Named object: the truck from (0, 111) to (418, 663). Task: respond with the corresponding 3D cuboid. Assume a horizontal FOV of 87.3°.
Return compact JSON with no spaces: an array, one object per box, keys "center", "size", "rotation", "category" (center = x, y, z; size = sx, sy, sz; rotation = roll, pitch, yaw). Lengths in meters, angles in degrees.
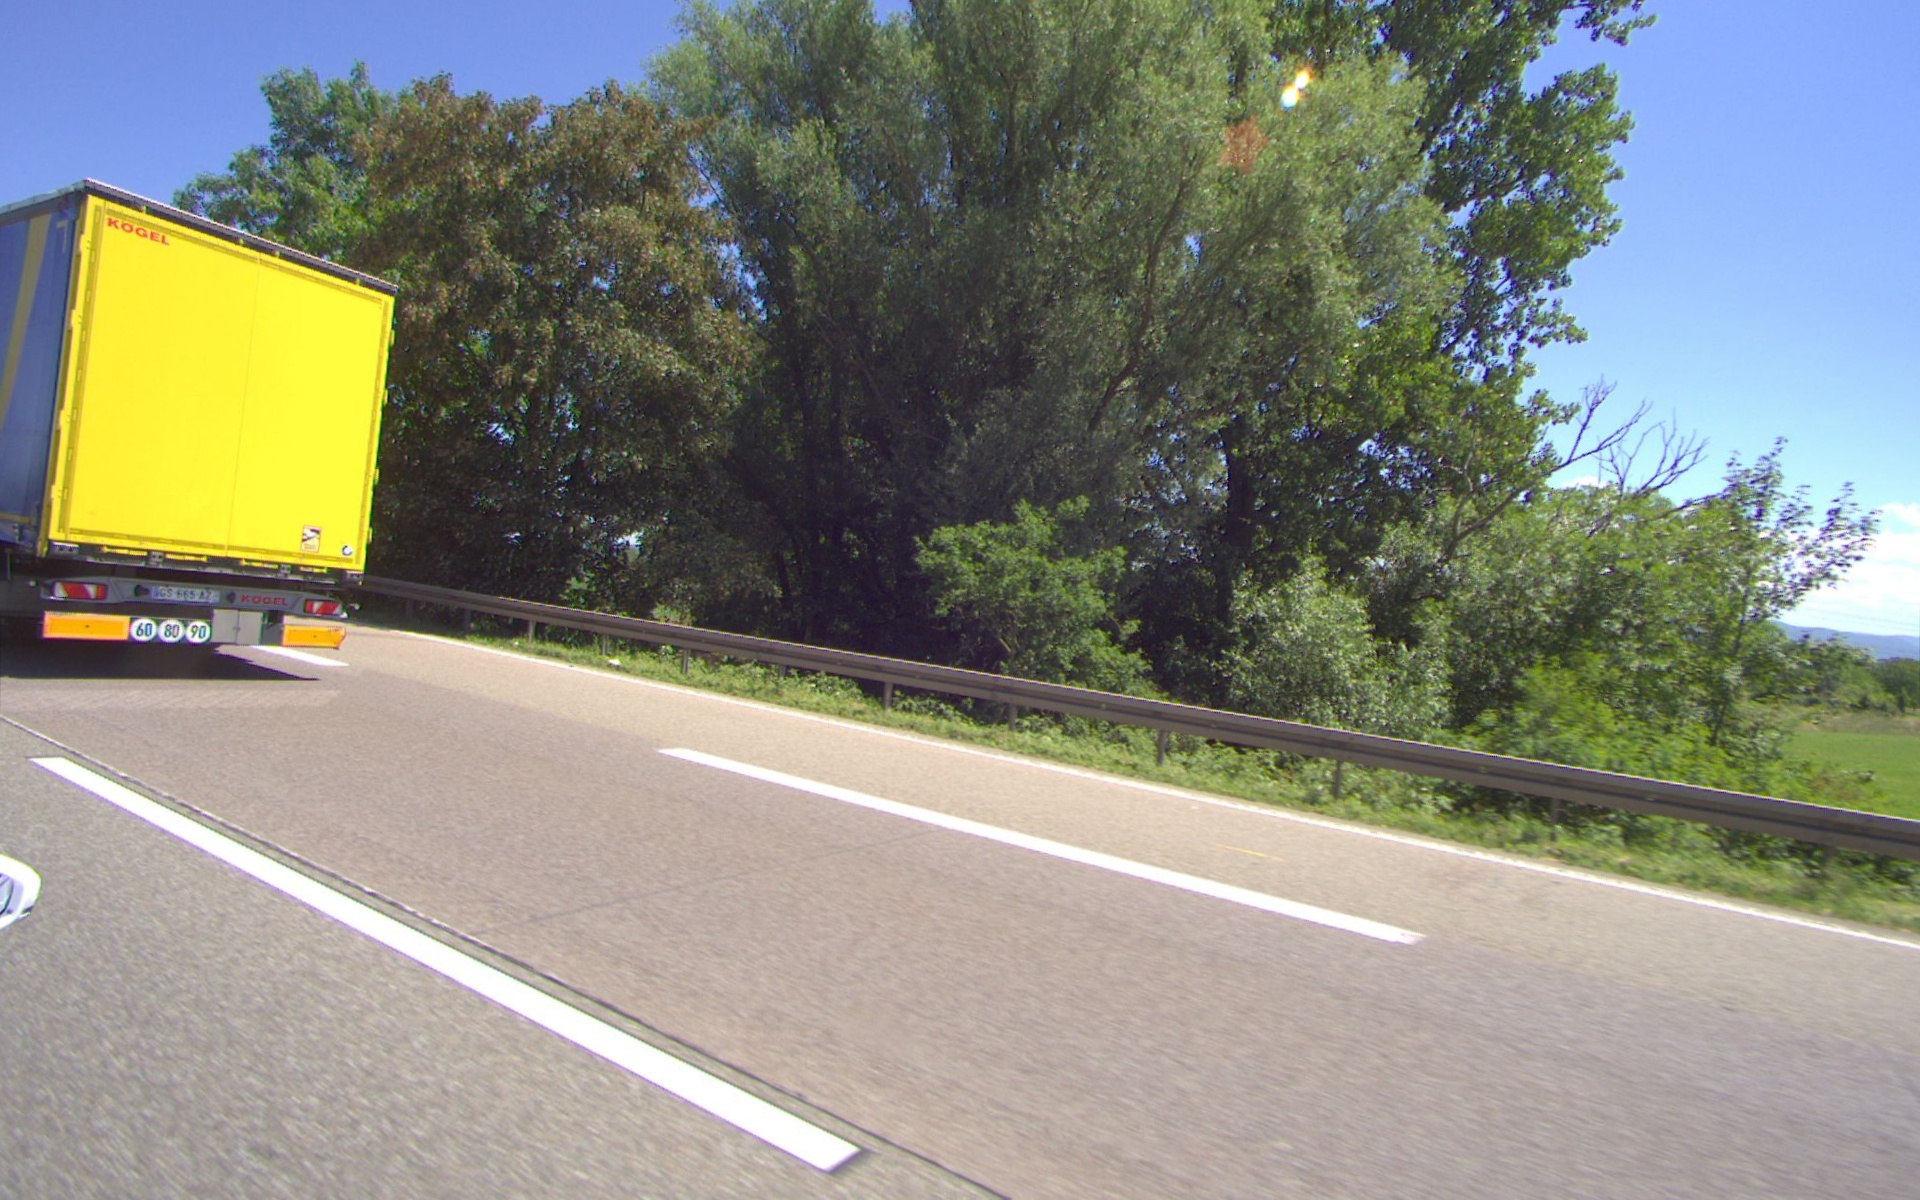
[{"center":[-13.478,-2.293,13.426],"size":[16.513,4.311,2.847],"rotation":[6,1,31],"category":"truck"}]
